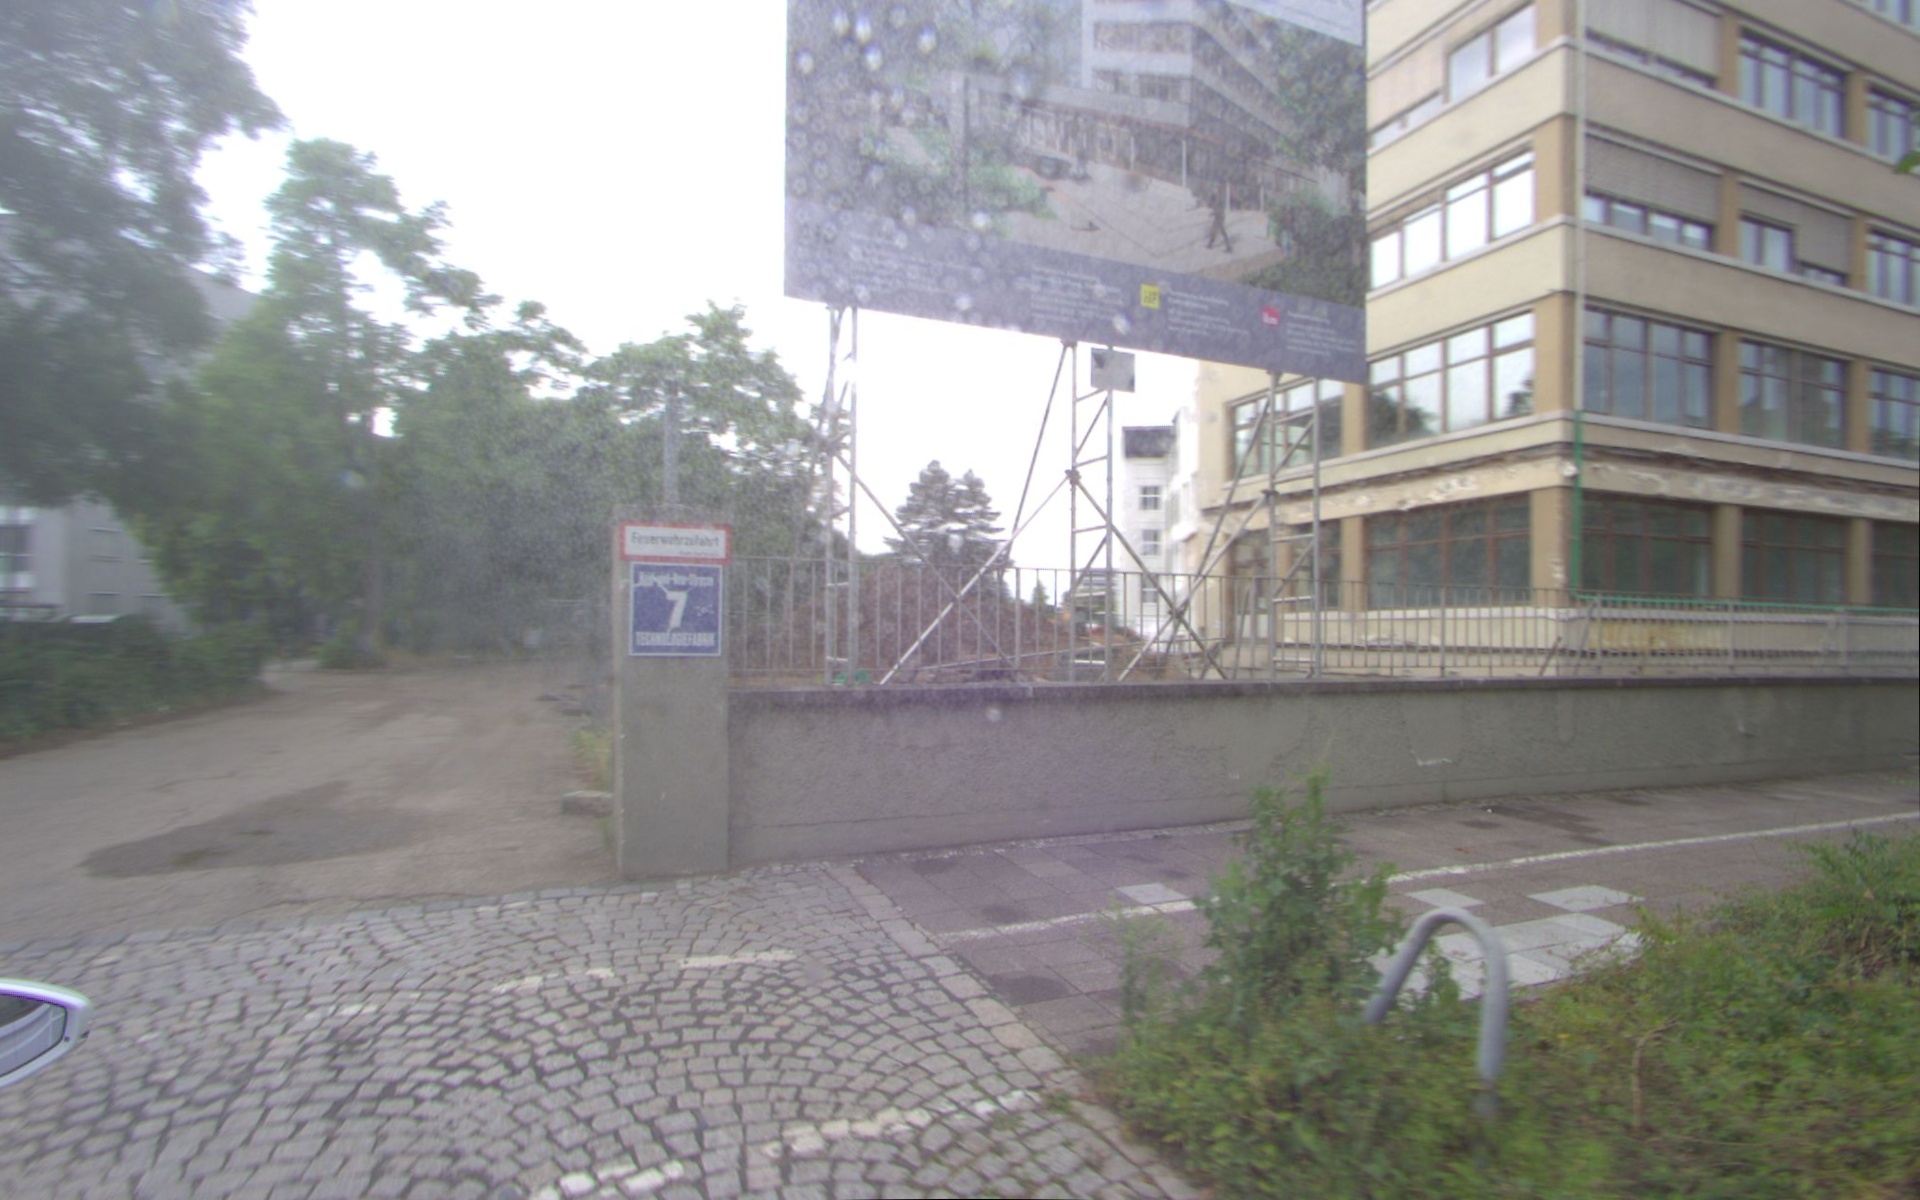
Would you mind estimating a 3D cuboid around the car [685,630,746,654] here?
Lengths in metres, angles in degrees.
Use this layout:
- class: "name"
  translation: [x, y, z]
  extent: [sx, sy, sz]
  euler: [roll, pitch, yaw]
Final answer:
- class: "car"
  translation: [-16.805, 2.896, 68.914]
  extent: [3.639, 1.520, 1.868]
  euler: [1, -1, 7]

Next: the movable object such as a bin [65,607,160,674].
- class: "movable object such as a bin"
  translation: [-19.820, 0.940, 23.433]
  extent: [1.329, 1.468, 1.055]
  euler: [2, -1, 13]

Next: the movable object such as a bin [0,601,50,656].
- class: "movable object such as a bin"
  translation: [-22.725, 0.668, 23.722]
  extent: [1.327, 1.281, 1.056]
  euler: [1, -1, -1]

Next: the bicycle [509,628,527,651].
- class: "bicycle"
  translation: [-17.467, 1.552, 39.563]
  extent: [0.412, 0.917, 1.153]
  euler: [1, -1, -12]

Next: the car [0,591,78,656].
- class: "car"
  translation: [-31.223, 0.765, 32.201]
  extent: [1.818, 2.039, 4.354]
  euler: [0, -2, 0]

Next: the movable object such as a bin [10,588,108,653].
- class: "movable object such as a bin"
  translation: [-21.232, 0.493, 23.626]
  extent: [1.327, 1.474, 1.056]
  euler: [1, -2, -1]
